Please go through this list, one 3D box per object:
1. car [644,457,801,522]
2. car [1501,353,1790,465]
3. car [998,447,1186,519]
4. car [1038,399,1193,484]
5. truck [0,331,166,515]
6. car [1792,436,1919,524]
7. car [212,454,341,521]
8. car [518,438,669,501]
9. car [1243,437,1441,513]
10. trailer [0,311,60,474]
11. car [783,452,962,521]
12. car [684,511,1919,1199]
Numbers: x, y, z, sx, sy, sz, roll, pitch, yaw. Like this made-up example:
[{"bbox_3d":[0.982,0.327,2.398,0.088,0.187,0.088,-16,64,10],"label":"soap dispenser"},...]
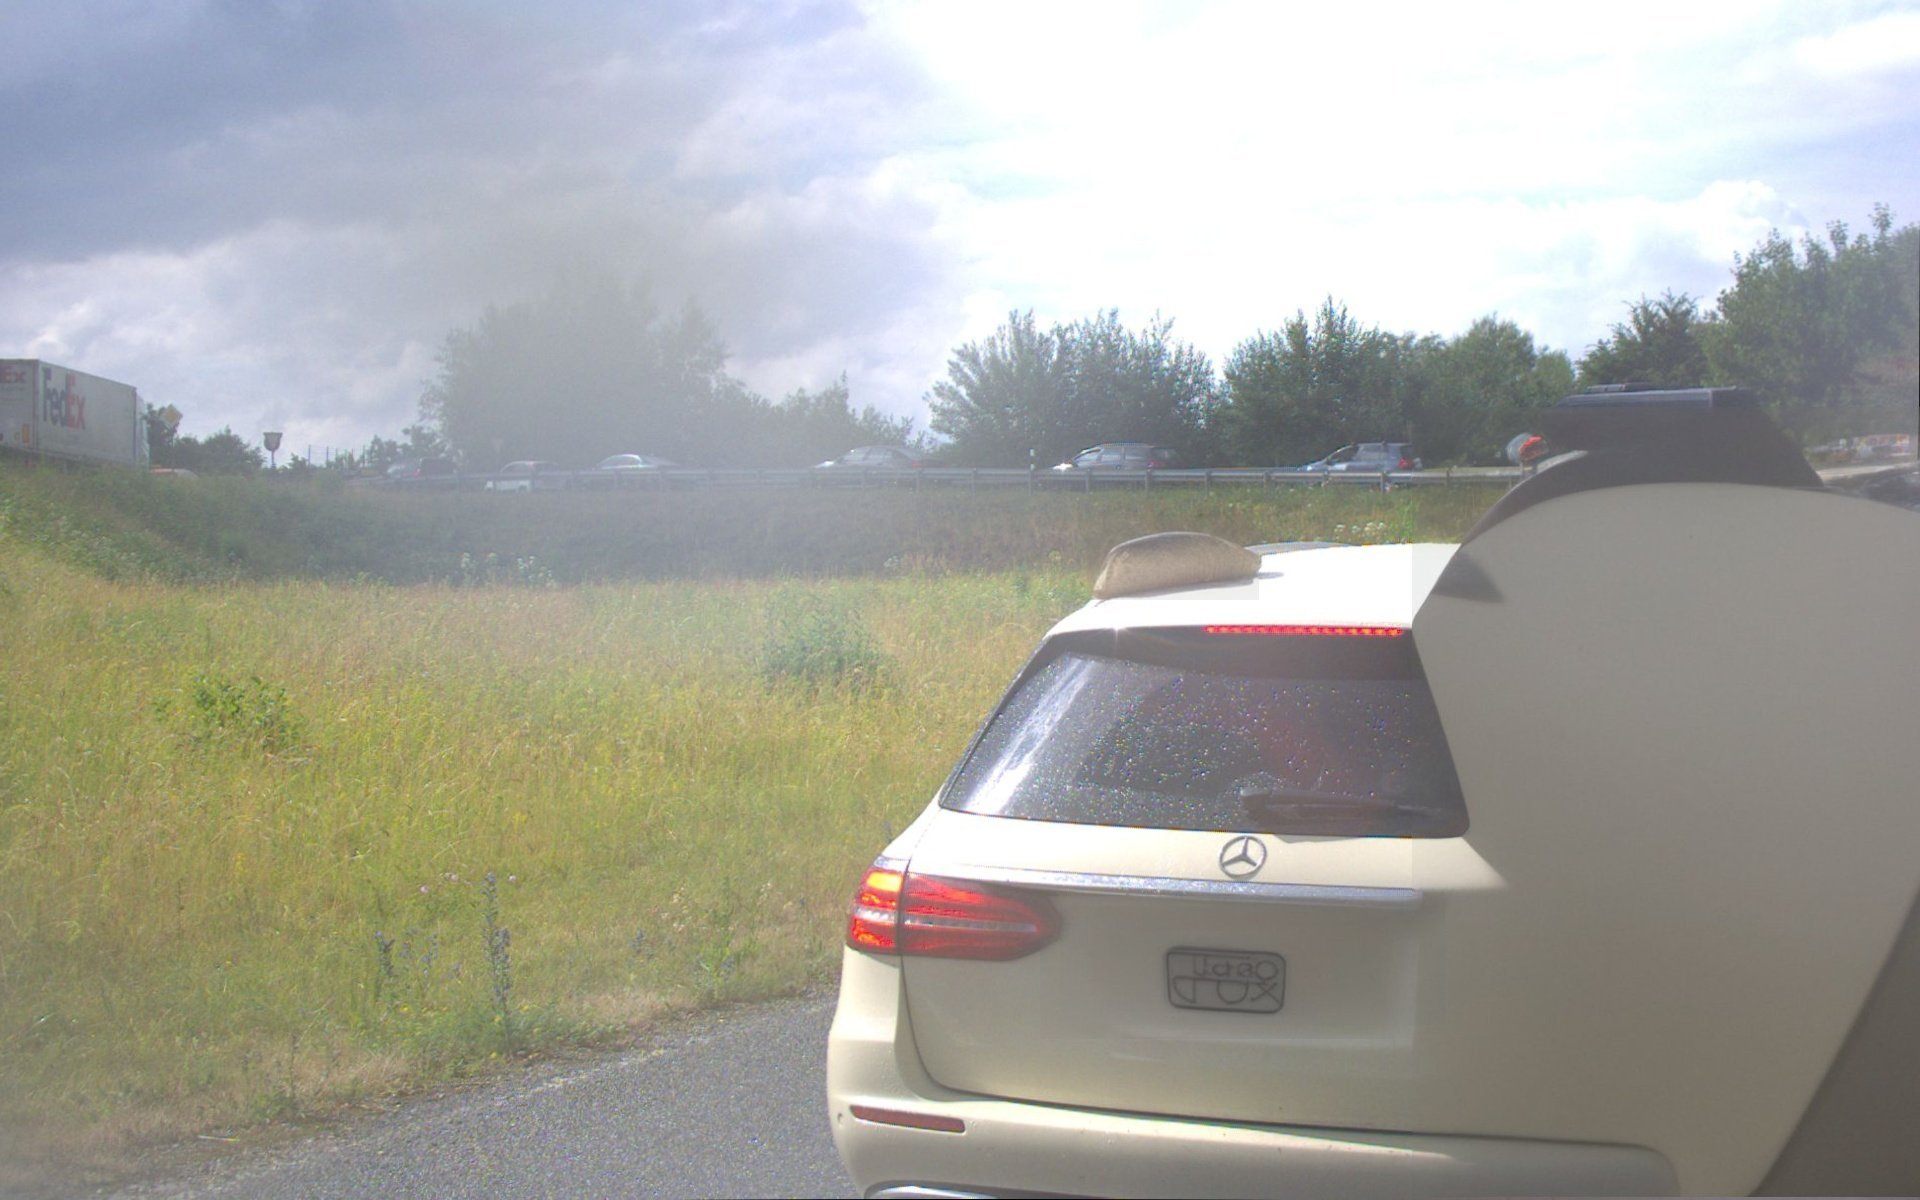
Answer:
[{"bbox_3d":[-7.546,-3.485,109.309,4.501,1.855,1.998,-2,0,22],"label":"car"},{"bbox_3d":[17.389,-4.826,87.607,2.867,2.586,6.982,-3,2,-39],"label":"car"},{"bbox_3d":[3.829,-3.381,99.821,5.049,1.855,1.997,-2,0,30],"label":"car"},{"bbox_3d":[4.508,-4.578,99.756,3.994,2.007,1.996,-3,-4,33],"label":"car"},{"bbox_3d":[-29.624,-5.479,111.462,4.460,4.488,19.377,0,-1,-4],"label":"truck"},{"bbox_3d":[21.865,-2.806,80.331,1.993,1.855,5.058,-2,0,-24],"label":"car"},{"bbox_3d":[-21.876,-3.595,110.099,3.986,2.007,1.827,0,-2,-9],"label":"car"},{"bbox_3d":[-12.339,-4.370,115.585,5.052,1.855,1.996,-2,0,38],"label":"car"},{"bbox_3d":[10.487,-3.412,94.603,5.051,1.855,1.996,-2,0,38],"label":"car"},{"bbox_3d":[-28.313,-5.963,91.997,4.412,3.943,20.219,0,-1,-4],"label":"trailer"},{"bbox_3d":[-2.660,-3.403,104.001,5.049,1.855,1.997,-2,0,30],"label":"car"},{"bbox_3d":[1.373,0.570,7.568,1.918,1.502,4.590,0,2,25],"label":"car"}]
